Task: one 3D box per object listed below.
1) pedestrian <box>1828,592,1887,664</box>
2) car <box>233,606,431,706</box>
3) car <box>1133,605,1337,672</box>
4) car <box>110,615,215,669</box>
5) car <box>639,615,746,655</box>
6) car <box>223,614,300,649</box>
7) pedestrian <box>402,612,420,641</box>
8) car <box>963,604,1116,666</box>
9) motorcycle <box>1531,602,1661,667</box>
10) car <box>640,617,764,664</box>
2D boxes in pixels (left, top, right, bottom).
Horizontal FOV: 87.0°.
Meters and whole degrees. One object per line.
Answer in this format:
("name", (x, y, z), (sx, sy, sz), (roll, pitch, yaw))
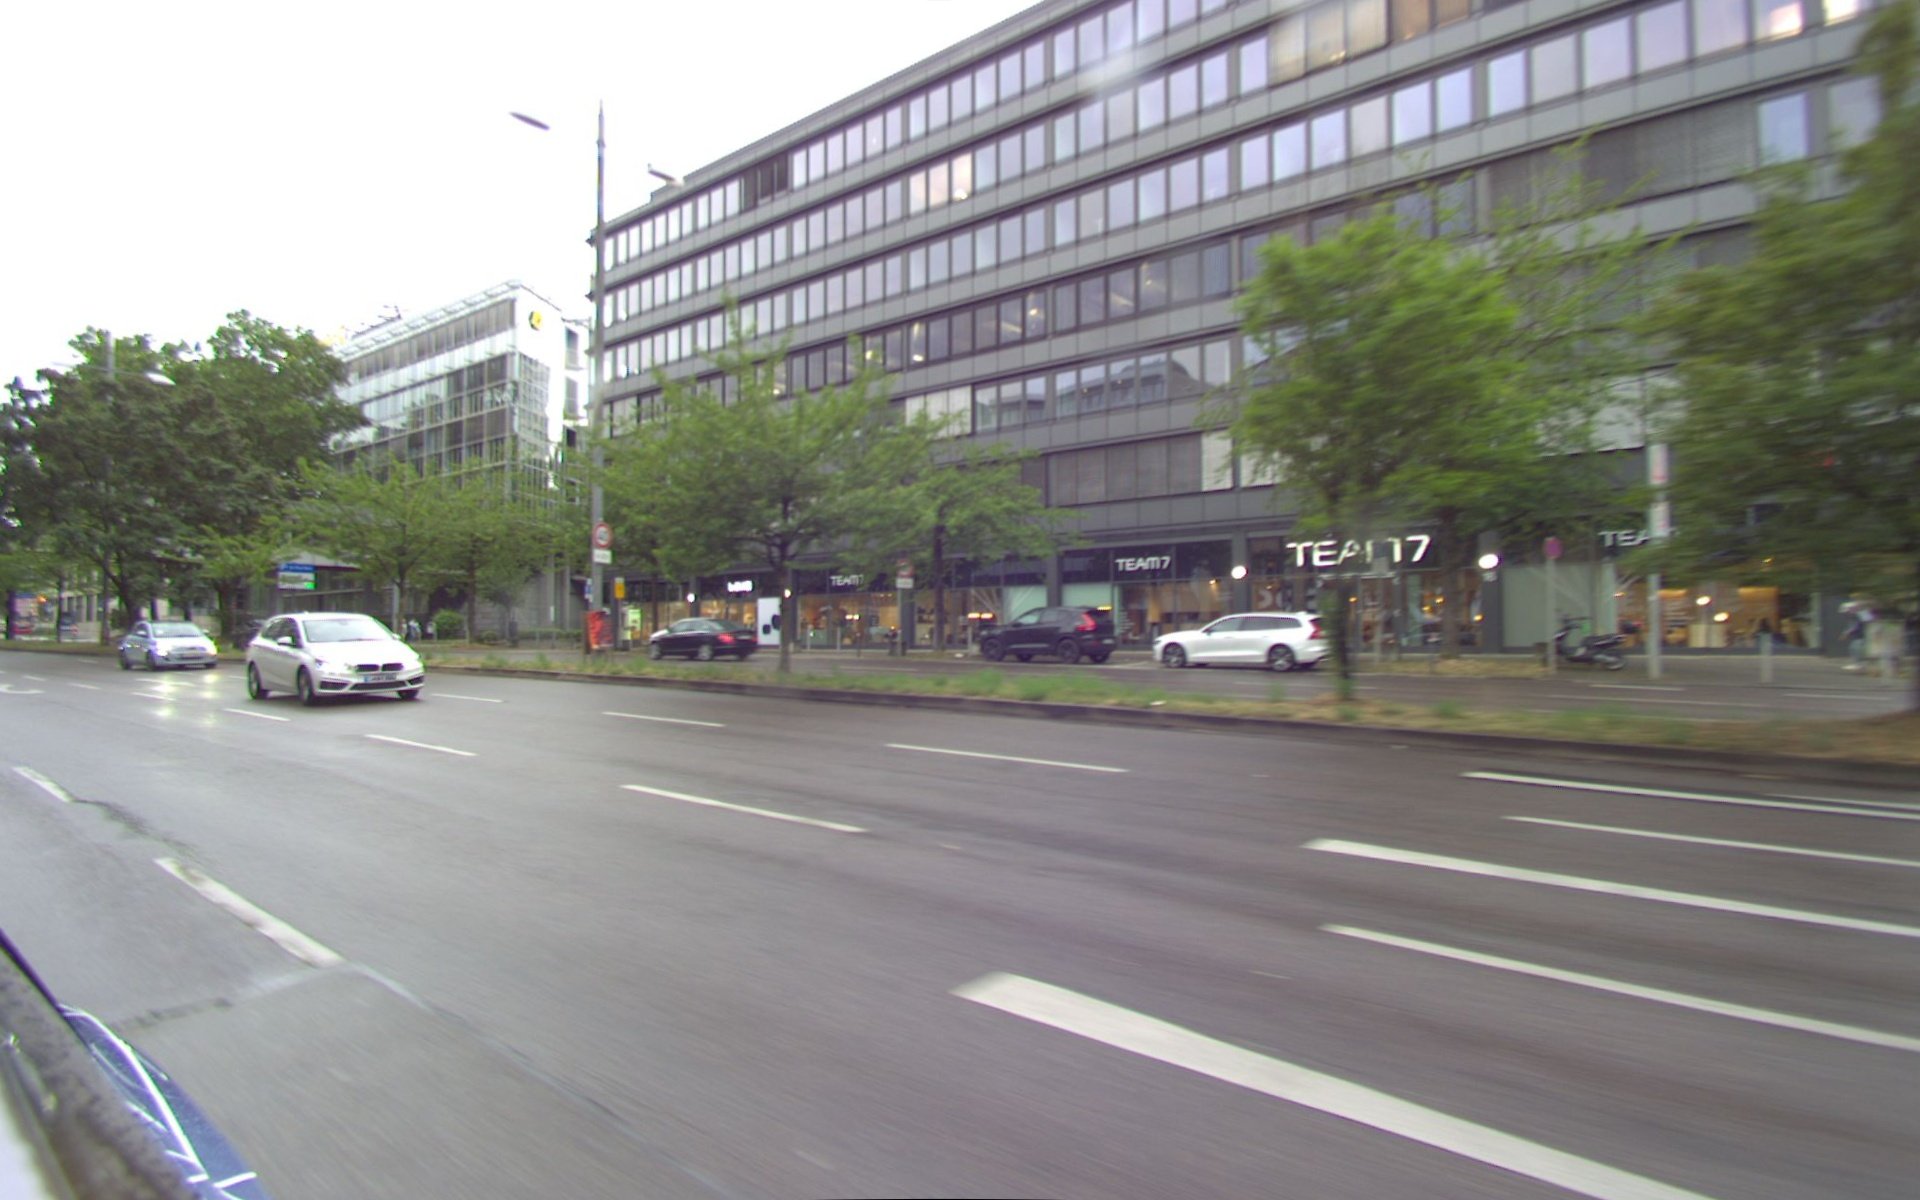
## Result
("pedestrian", (20.998, 0.647, 23.699), (0.965, 1.650, 0.776), (-1, -1, 39))
("car", (-11.321, 0.935, 18.147), (4.284, 1.585, 1.765), (-1, -1, 40))
("car", (7.029, 0.939, 26.145), (4.768, 1.496, 1.791), (-1, 2, 39))
("car", (-24.789, 1.268, 31.429), (3.687, 1.585, 1.766), (-1, -1, 39))
("car", (-10.677, 1.370, 40.282), (4.301, 1.455, 1.792), (-1, 0, 36))
("car", (-34.993, 1.536, 50.675), (4.710, 1.527, 1.792), (2, 0, 37))
("pedestrian", (-35.697, 1.714, 65.795), (0.924, 1.846, 0.720), (-1, 0, 39))
("car", (2.313, 1.001, 30.077), (4.307, 1.673, 1.790), (-1, 0, 41))
("motorcycle", (14.519, 0.777, 23.168), (2.346, 1.404, 0.856), (-1, 2, 13))
("car", (-8.780, 1.338, 34.307), (4.294, 1.487, 1.792), (-1, -1, 37))
